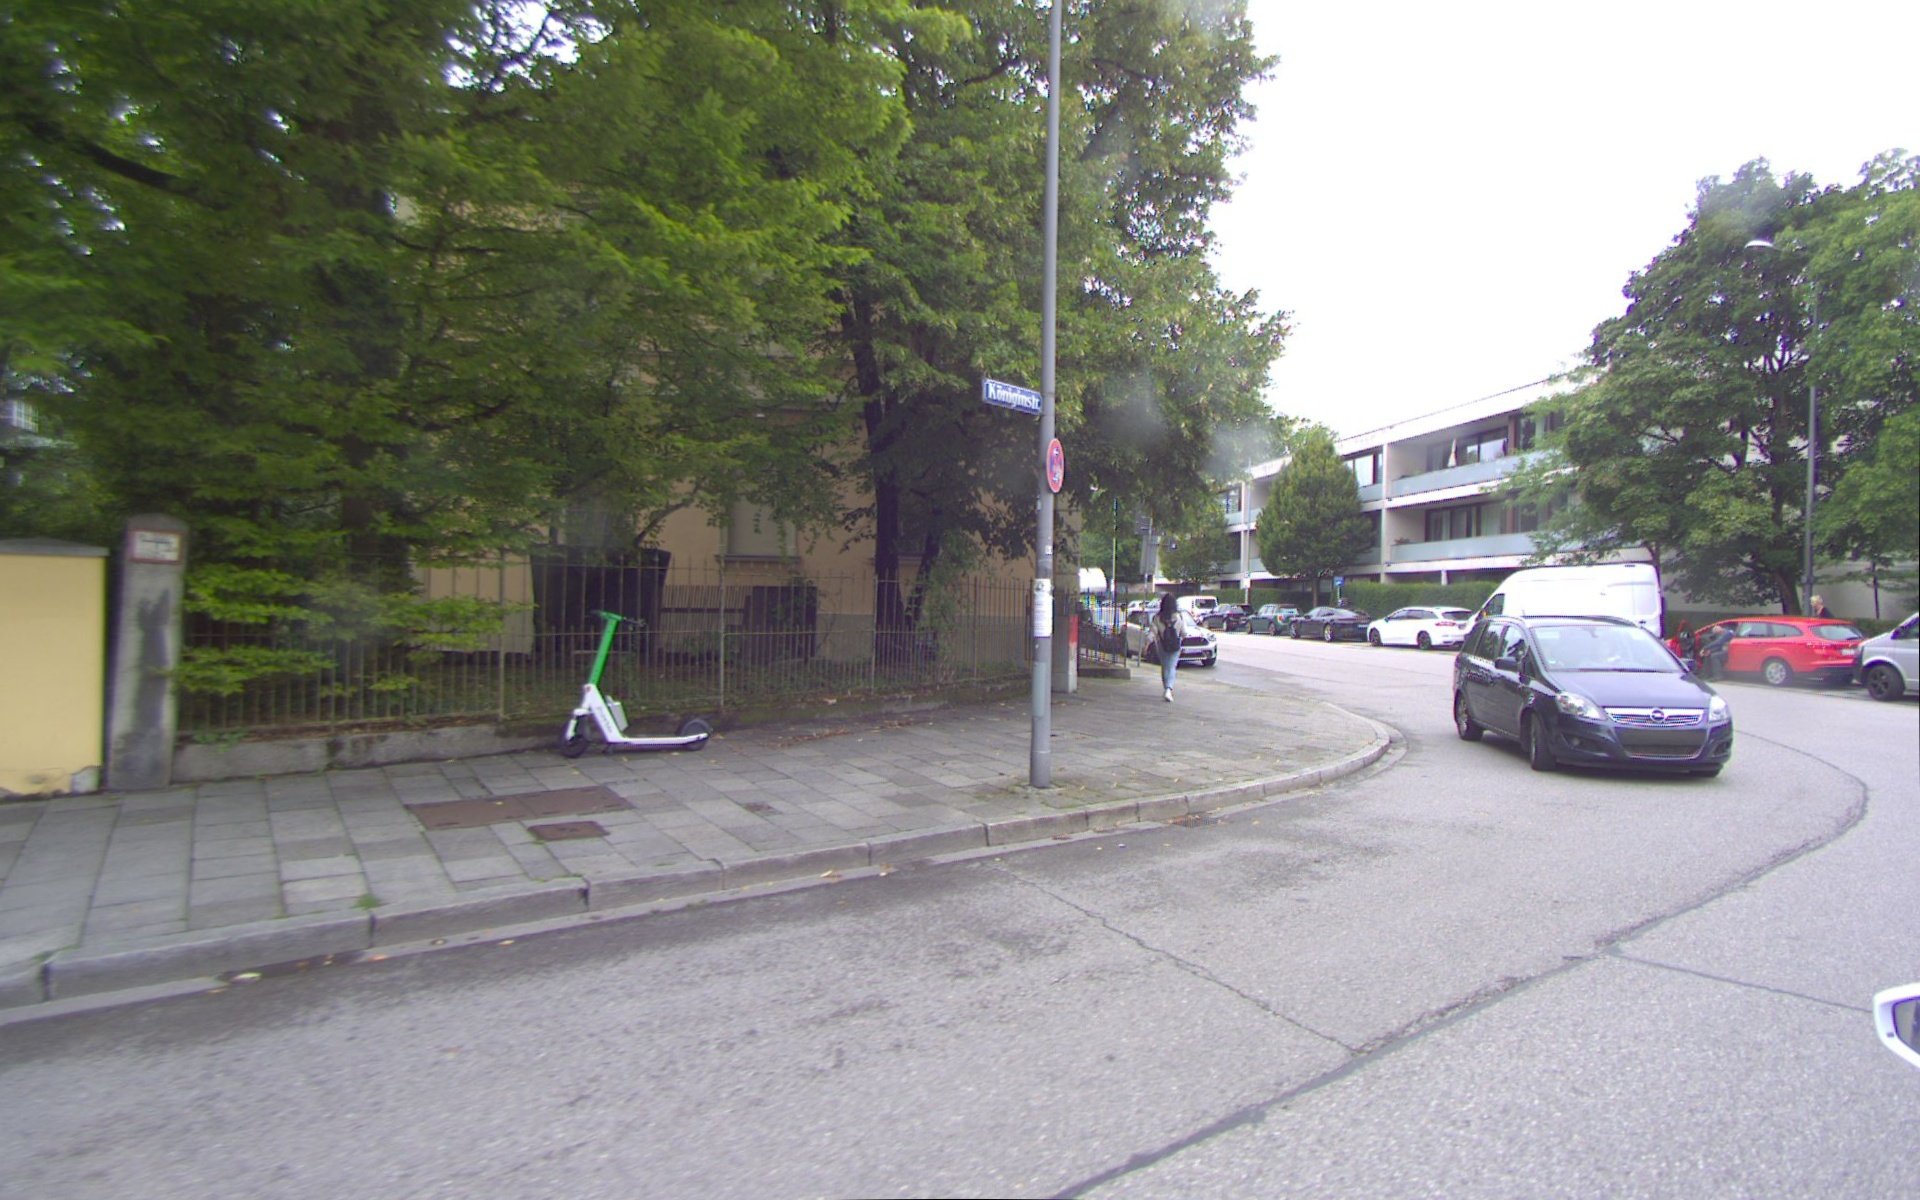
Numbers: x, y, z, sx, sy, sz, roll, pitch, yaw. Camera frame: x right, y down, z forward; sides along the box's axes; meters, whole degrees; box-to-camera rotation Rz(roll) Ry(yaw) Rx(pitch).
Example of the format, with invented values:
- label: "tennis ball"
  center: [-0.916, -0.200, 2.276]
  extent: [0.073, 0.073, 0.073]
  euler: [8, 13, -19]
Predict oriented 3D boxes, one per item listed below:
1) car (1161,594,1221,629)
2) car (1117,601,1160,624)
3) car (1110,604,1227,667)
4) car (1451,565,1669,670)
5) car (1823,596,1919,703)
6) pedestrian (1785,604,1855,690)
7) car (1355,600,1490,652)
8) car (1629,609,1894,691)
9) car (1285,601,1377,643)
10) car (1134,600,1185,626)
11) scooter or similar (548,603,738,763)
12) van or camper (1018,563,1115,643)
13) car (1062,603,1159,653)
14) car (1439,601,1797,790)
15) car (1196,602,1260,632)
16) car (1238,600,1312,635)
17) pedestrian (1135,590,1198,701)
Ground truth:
- label: "car"
  center: [13.434, 0.656, 58.774]
  extent: [1.794, 1.885, 4.892]
  euler: [2, 0, -7]
- label: "car"
  center: [12.121, 0.835, 68.444]
  extent: [1.722, 1.500, 3.881]
  euler: [1, 0, -9]
- label: "car"
  center: [5.865, 0.951, 28.818]
  extent: [1.906, 1.555, 4.525]
  euler: [-1, 1, -7]
- label: "car"
  center: [17.290, 0.394, 29.474]
  extent: [2.049, 2.723, 6.076]
  euler: [-1, 1, -10]
- label: "car"
  center: [18.904, 0.940, 18.152]
  extent: [1.905, 1.930, 5.065]
  euler: [-1, 1, -7]
- label: "pedestrian"
  center: [19.935, 1.078, 23.304]
  extent: [0.782, 1.929, 0.864]
  euler: [2, 1, -2]
- label: "car"
  center: [16.490, 0.865, 36.137]
  extent: [1.844, 1.591, 4.990]
  euler: [-1, 1, -11]
- label: "car"
  center: [18.343, 1.051, 23.357]
  extent: [1.843, 1.527, 4.828]
  euler: [-1, 1, -10]
- label: "car"
  center: [15.495, 0.882, 42.256]
  extent: [1.262, 1.526, 5.199]
  euler: [-1, 1, -9]
- label: "car"
  center: [12.610, 0.799, 63.856]
  extent: [1.721, 1.500, 4.590]
  euler: [2, 1, -9]
- label: "scooter or similar"
  center: [-2.600, 0.660, 8.305]
  extent: [1.406, 1.206, 0.388]
  euler: [2, 5, -36]
- label: "van or camper"
  center: [4.237, 0.091, 41.481]
  extent: [2.417, 2.980, 7.202]
  euler: [-1, 1, -7]
- label: "car"
  center: [5.072, 0.904, 34.628]
  extent: [1.907, 1.528, 4.813]
  euler: [-1, 1, -9]
- label: "car"
  center: [7.071, 0.922, 11.435]
  extent: [1.959, 1.715, 4.337]
  euler: [0, -1, 12]
- label: "car"
  center: [14.057, 0.868, 52.935]
  extent: [1.721, 1.483, 4.236]
  euler: [0, 0, -9]
- label: "car"
  center: [14.884, 0.793, 47.665]
  extent: [1.701, 1.549, 4.198]
  euler: [-1, 1, -9]
- label: "pedestrian"
  center: [3.175, 0.689, 15.481]
  extent: [0.643, 1.624, 0.739]
  euler: [5, 1, -4]
